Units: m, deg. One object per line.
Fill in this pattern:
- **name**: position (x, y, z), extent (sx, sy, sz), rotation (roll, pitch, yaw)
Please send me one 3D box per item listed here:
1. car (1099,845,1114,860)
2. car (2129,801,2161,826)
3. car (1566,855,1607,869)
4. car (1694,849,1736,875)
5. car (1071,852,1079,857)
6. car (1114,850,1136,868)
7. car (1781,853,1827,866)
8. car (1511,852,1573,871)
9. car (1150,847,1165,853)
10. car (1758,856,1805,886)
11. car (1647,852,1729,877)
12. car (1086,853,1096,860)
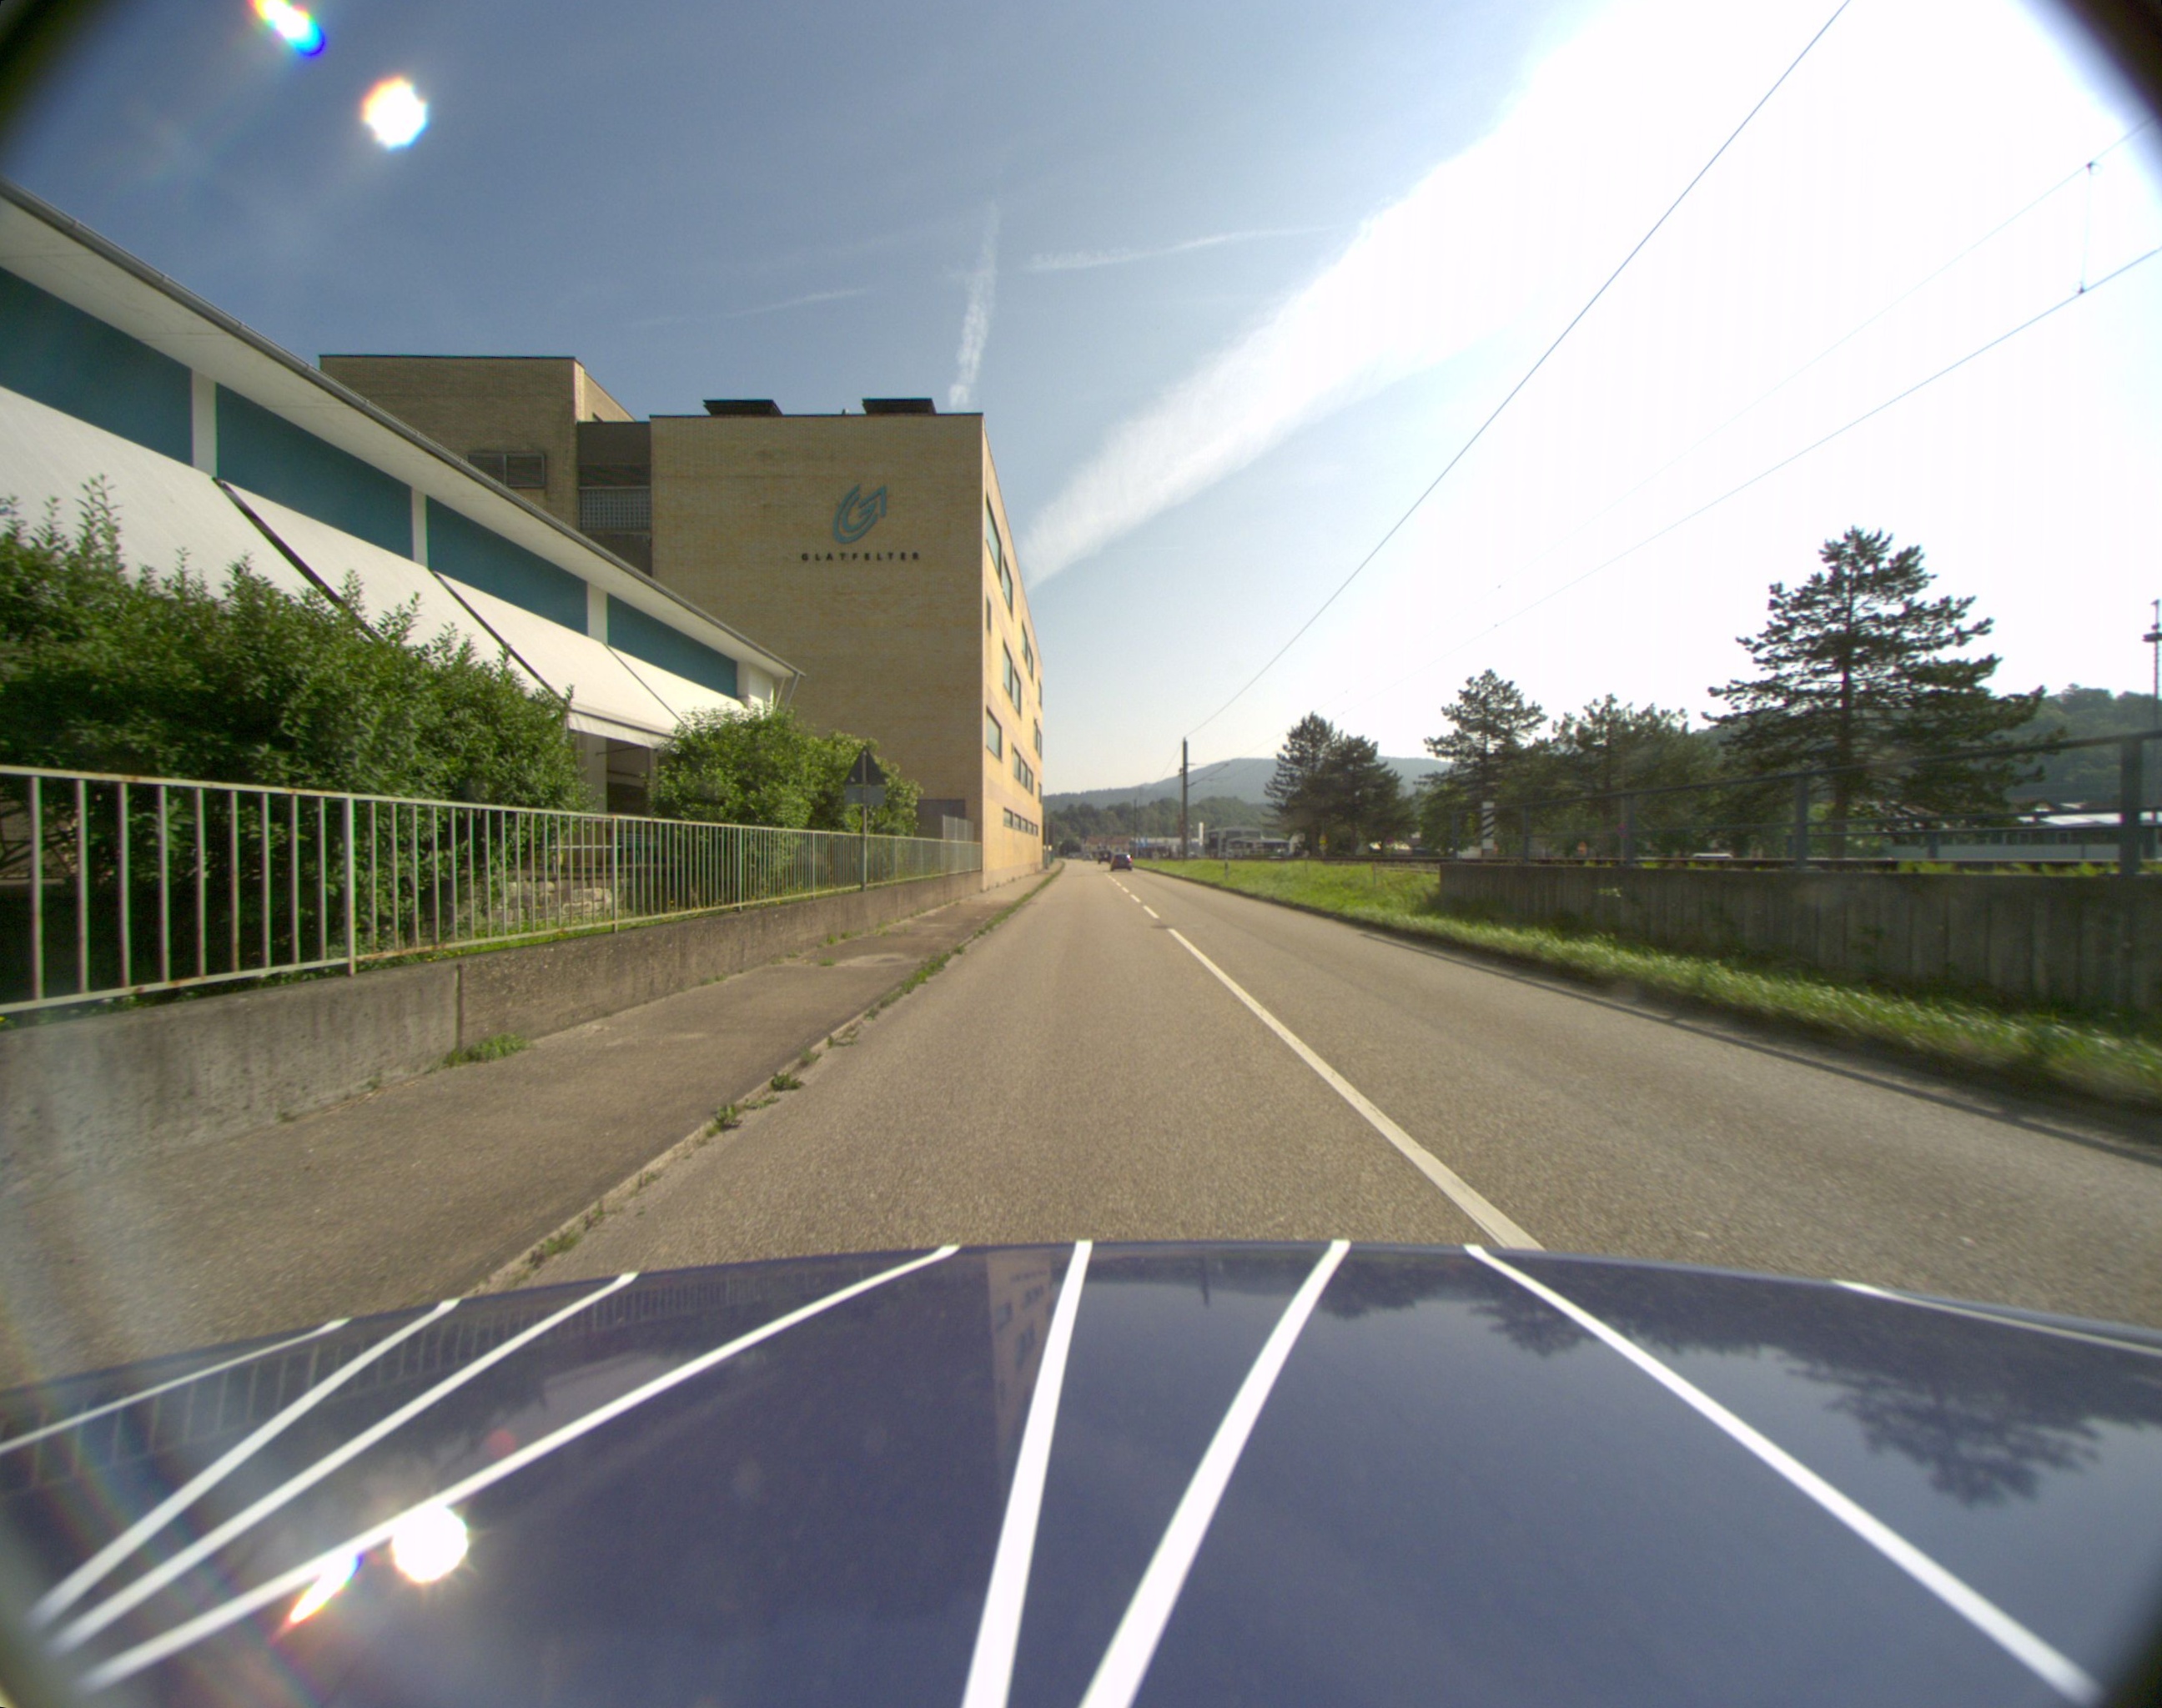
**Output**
- **car**: position (3.581, -0.186, 106.350), extent (1.763, 2.066, 4.806), rotation (-2, 0, -2)
- **car**: position (59.091, -2.185, 40.364), extent (1.571, 1.255, 3.841), rotation (0, 0, -44)
- **car**: position (59.382, 0.926, 89.279), extent (1.684, 1.539, 3.996), rotation (0, 0, -9)
- **car**: position (33.280, 0.404, 39.948), extent (1.560, 1.317, 3.865), rotation (1, 0, 39)
- **car**: position (-1.728, 0.141, 218.740), extent (1.912, 1.591, 4.567), rotation (-1, 1, -7)
- **car**: position (3.765, 0.423, 65.726), extent (1.735, 1.517, 4.092), rotation (-1, 0, 0)
- **car**: position (86.841, 0.692, 91.316), extent (1.495, 1.472, 3.850), rotation (0, 0, -7)
- **car**: position (36.236, 0.544, 59.762), extent (1.692, 1.435, 3.841), rotation (0, 1, -44)
- **car**: position (21.601, -1.156, 215.230), extent (3.968, 1.519, 1.662), rotation (-3, 1, -7)
- **car**: position (32.920, 0.771, 35.682), extent (1.515, 1.349, 3.528), rotation (1, 1, 44)
- **car**: position (38.451, 0.618, 48.160), extent (1.692, 1.498, 3.841), rotation (0, 1, -44)
- **car**: position (2.071, 0.488, 159.185), extent (1.772, 1.397, 4.296), rotation (0, 0, -1)
